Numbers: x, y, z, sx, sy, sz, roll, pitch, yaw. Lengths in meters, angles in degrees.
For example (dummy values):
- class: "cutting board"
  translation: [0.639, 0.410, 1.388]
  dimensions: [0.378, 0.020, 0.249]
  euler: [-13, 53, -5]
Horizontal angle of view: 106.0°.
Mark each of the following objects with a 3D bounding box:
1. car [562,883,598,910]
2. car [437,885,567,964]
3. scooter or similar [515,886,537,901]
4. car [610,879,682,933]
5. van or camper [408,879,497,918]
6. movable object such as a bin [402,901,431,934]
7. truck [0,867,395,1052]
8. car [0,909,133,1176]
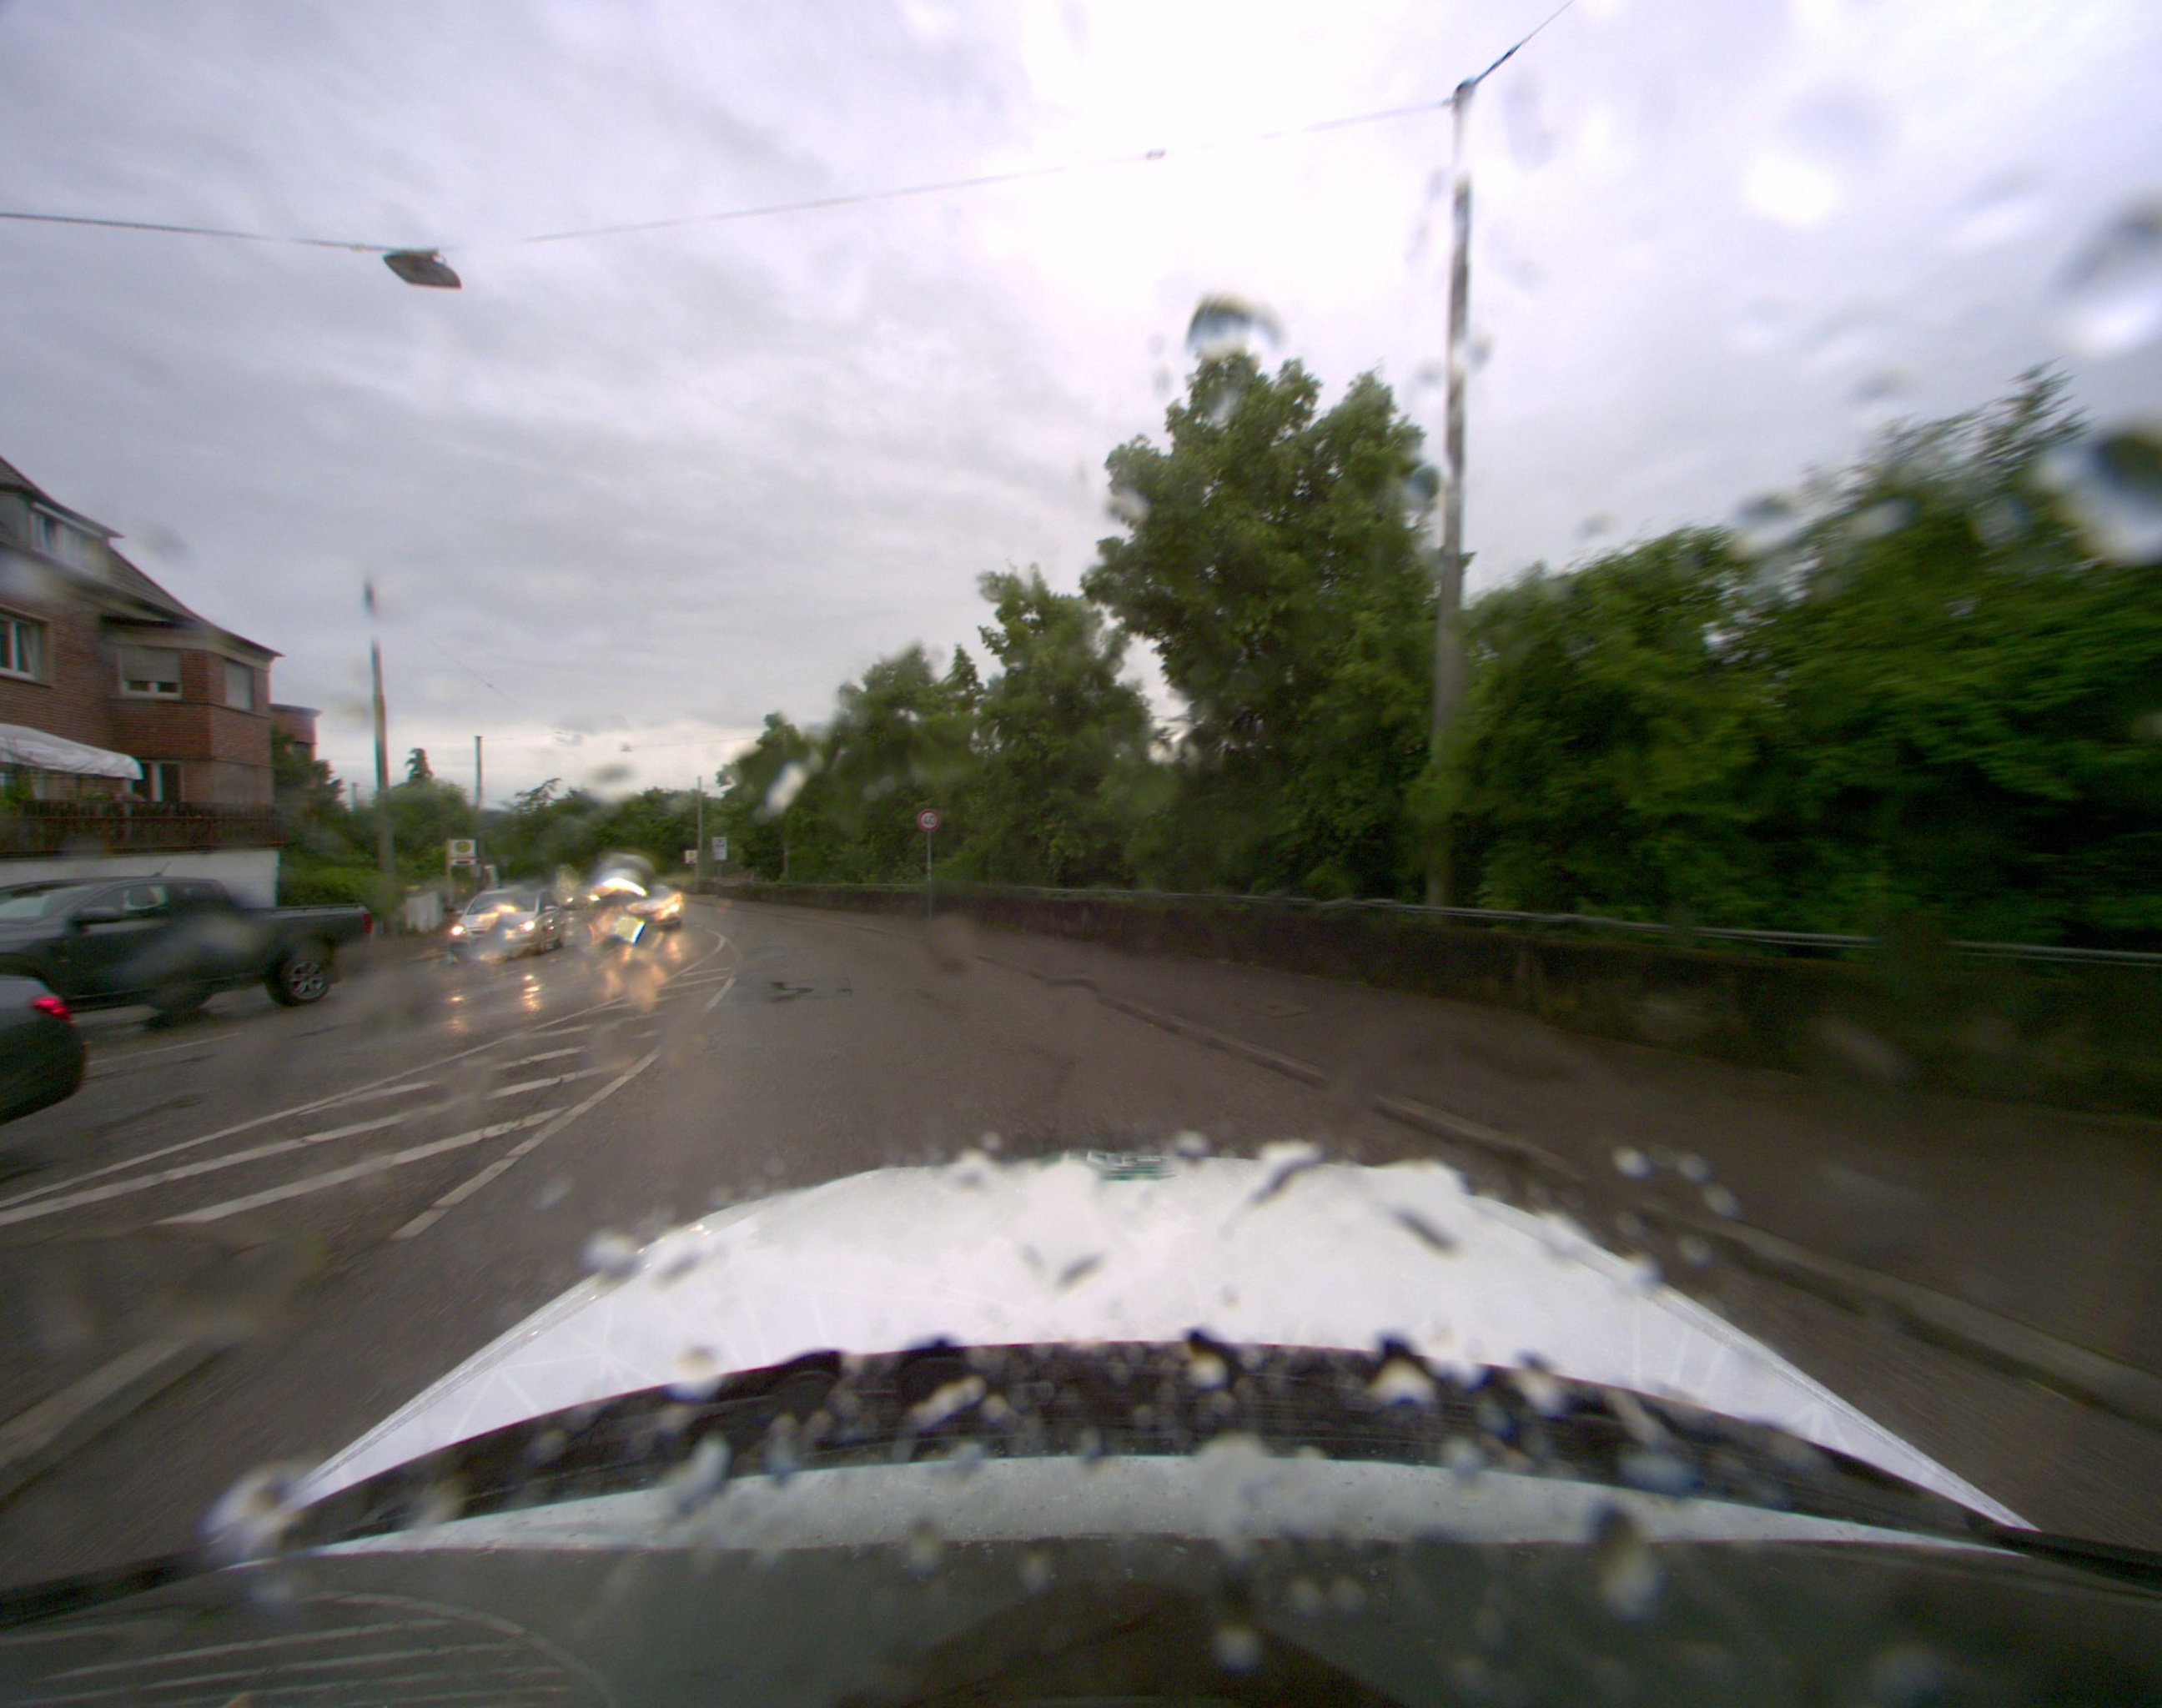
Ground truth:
- class: "car"
  translation: [-31.905, 2.670, 51.911]
  dimensions: [1.749, 1.450, 4.569]
  euler: [-5, 1, -31]
- class: "car"
  translation: [-13.886, 1.624, 19.790]
  dimensions: [1.719, 1.585, 4.423]
  euler: [-2, -2, -25]
- class: "scooter or similar"
  translation: [-55.484, 3.945, 81.417]
  dimensions: [1.699, 1.282, 0.451]
  euler: [-5, 3, -2]
- class: "car"
  translation: [-14.625, 1.704, 27.266]
  dimensions: [1.860, 1.474, 4.397]
  euler: [-5, 0, -30]
- class: "van or camper"
  translation: [-60.713, 4.286, 78.776]
  dimensions: [6.244, 2.942, 2.397]
  euler: [-5, 5, -2]
- class: "movable object such as a bin"
  translation: [-22.593, 2.146, 27.700]
  dimensions: [0.628, 1.081, 0.752]
  euler: [1, -1, -31]
- class: "truck"
  translation: [-11.750, 1.170, 10.147]
  dimensions: [1.877, 1.848, 5.278]
  euler: [-4, -2, 0]
- class: "car"
  translation: [-6.623, 1.022, 2.608]
  dimensions: [1.854, 1.395, 4.591]
  euler: [-4, -2, -3]
